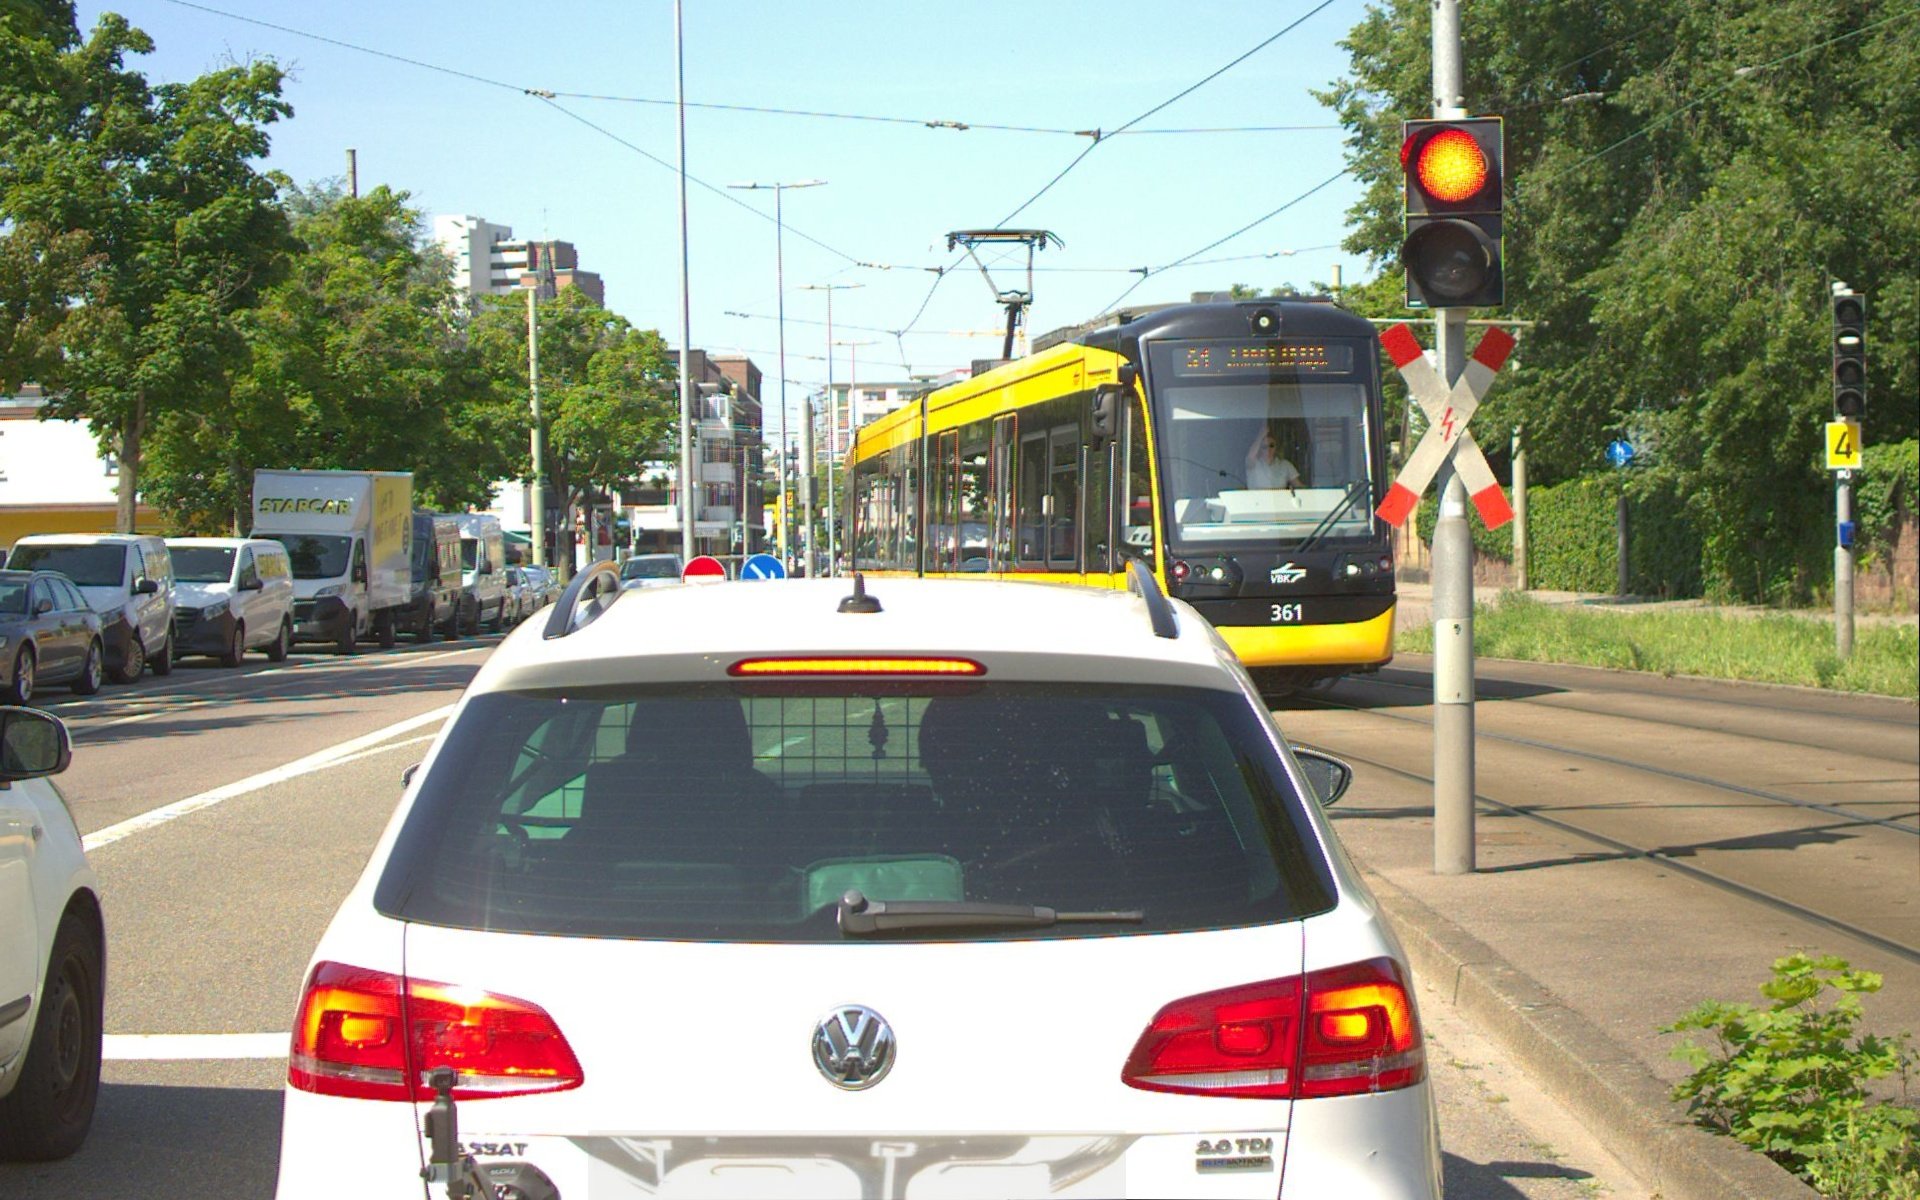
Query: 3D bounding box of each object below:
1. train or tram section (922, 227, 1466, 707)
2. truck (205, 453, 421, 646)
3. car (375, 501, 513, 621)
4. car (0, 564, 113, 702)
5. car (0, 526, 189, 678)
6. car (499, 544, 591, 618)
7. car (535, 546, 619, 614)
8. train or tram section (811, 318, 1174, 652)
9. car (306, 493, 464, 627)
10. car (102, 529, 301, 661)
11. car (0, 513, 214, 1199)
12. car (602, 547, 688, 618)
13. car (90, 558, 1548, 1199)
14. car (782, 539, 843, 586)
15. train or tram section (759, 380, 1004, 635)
[{"bbox_3d":[1.851,-1.193,34.091,2.870,3.842,12.394,-1,1,-8],"label":"train or tram section"},{"bbox_3d":[-11.249,-0.902,60.326,2.421,3.139,6.997,1,1,0],"label":"truck"},{"bbox_3d":[-11.314,-0.879,75.765,2.123,2.508,5.733,1,1,0],"label":"car"},{"bbox_3d":[-10.989,0.328,38.746,1.863,1.411,4.280,1,1,-1],"label":"car"},{"bbox_3d":[-11.438,-0.029,45.326,1.863,1.861,5.075,1,1,-6],"label":"car"},{"bbox_3d":[-11.027,-0.544,91.695,1.863,1.861,5.414,1,1,-1],"label":"car"},{"bbox_3d":[-10.950,-0.599,98.612,1.863,1.861,5.414,1,1,-1],"label":"car"},{"bbox_3d":[0.126,-1.455,46.395,2.870,3.842,12.395,-1,1,-9],"label":"train or tram section"},{"bbox_3d":[-11.363,-0.808,68.328,2.123,2.508,5.733,1,1,0],"label":"car"},{"bbox_3d":[-11.373,-0.124,51.912,1.863,1.861,5.414,1,1,-1],"label":"car"},{"bbox_3d":[-2.939,0.586,7.368,1.662,1.542,4.547,0,1,0],"label":"car"},{"bbox_3d":[-7.362,-0.425,80.535,1.676,1.548,3.580,-3,1,-1],"label":"car"},{"bbox_3d":[-0.184,0.672,6.203,1.762,1.425,4.000,-1,1,-1],"label":"car"},{"bbox_3d":[-4.824,-1.242,112.563,1.705,1.468,4.589,-2,1,1],"label":"car"},{"bbox_3d":[-1.497,-1.503,57.781,2.870,3.842,10.541,-1,1,-8],"label":"train or tram section"}]
